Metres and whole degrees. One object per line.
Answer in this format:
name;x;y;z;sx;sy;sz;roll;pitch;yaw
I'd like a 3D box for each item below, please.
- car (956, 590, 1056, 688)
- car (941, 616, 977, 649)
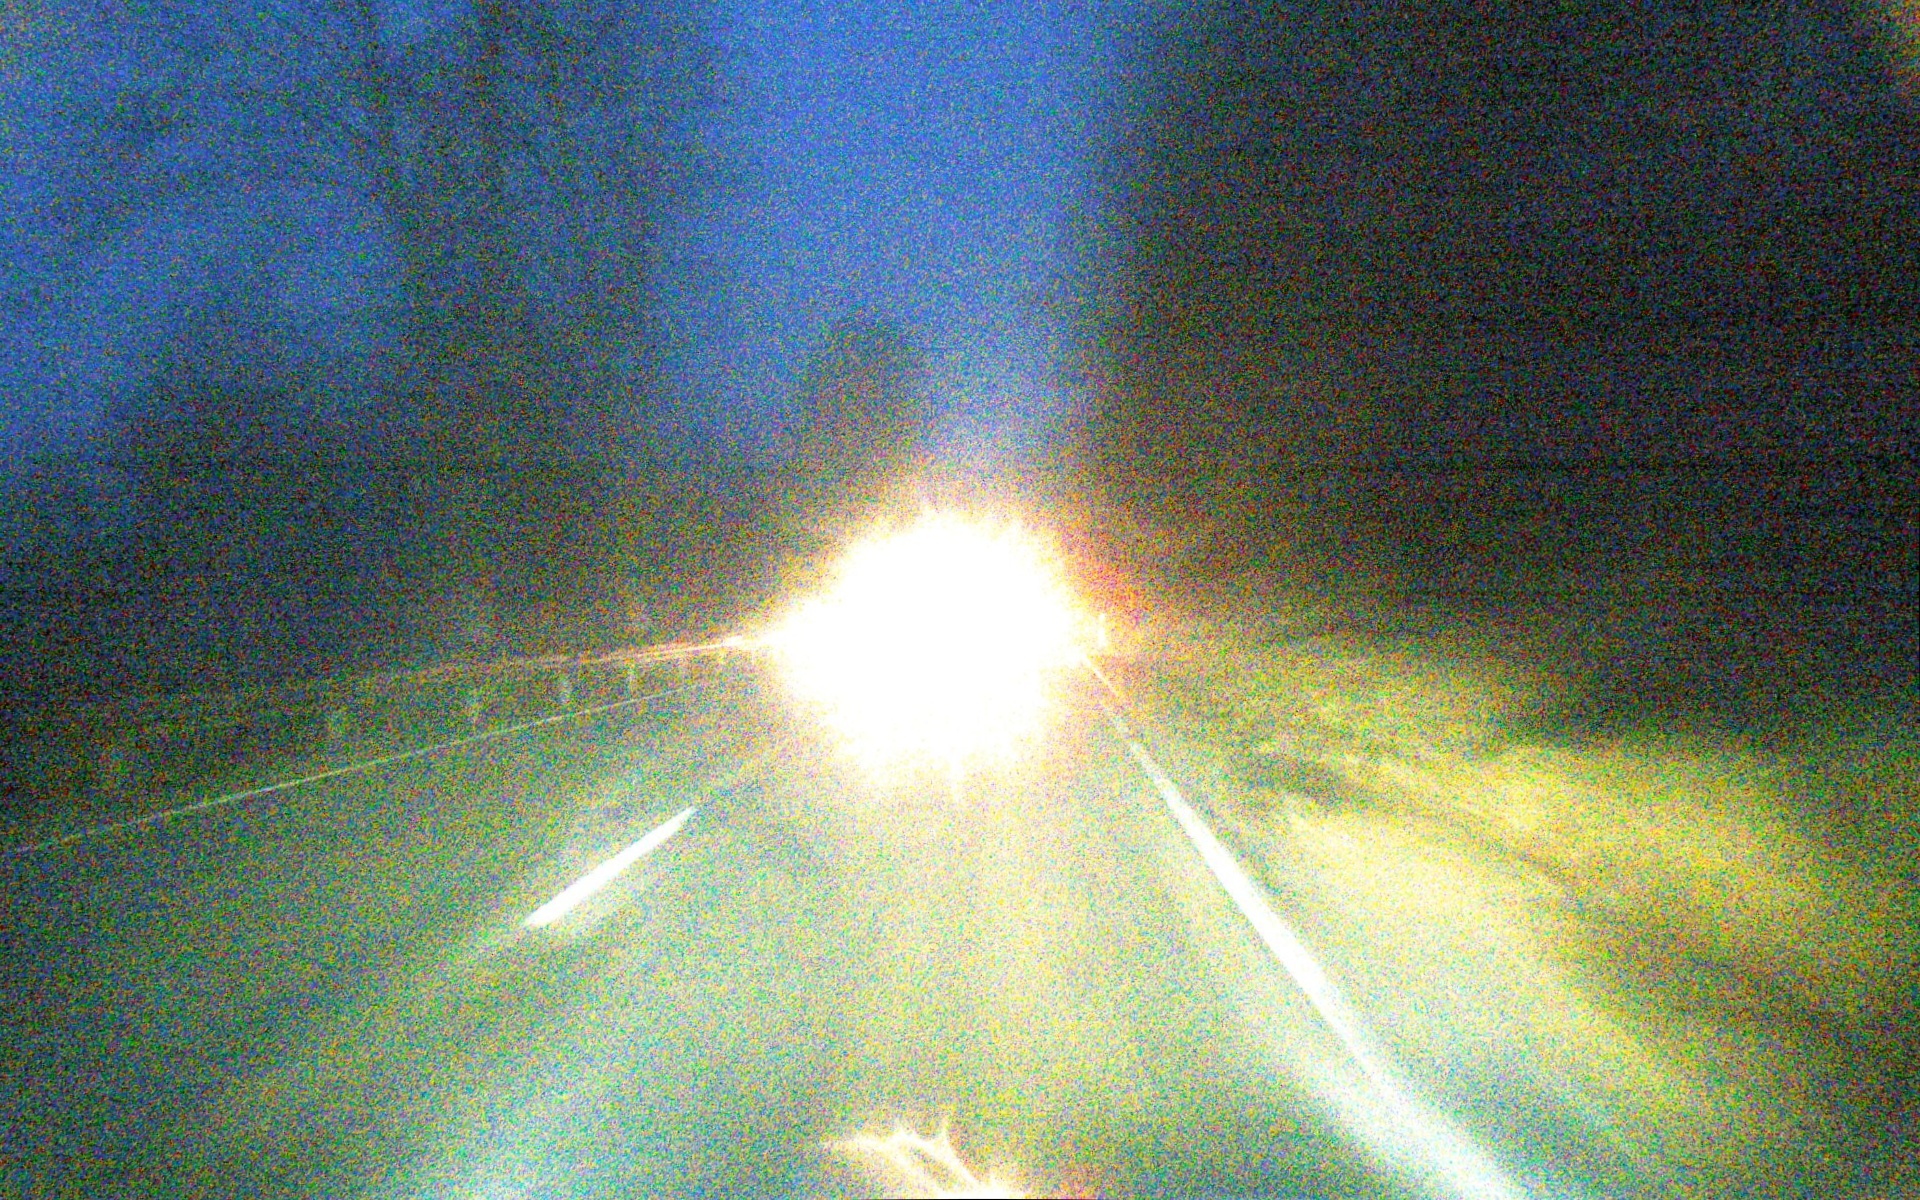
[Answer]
car;0.944;0.792;35.867;1.953;1.838;3.917;-3;1;-1
car;-0.040;2.011;103.611;1.765;1.605;4.459;-11;0;3
